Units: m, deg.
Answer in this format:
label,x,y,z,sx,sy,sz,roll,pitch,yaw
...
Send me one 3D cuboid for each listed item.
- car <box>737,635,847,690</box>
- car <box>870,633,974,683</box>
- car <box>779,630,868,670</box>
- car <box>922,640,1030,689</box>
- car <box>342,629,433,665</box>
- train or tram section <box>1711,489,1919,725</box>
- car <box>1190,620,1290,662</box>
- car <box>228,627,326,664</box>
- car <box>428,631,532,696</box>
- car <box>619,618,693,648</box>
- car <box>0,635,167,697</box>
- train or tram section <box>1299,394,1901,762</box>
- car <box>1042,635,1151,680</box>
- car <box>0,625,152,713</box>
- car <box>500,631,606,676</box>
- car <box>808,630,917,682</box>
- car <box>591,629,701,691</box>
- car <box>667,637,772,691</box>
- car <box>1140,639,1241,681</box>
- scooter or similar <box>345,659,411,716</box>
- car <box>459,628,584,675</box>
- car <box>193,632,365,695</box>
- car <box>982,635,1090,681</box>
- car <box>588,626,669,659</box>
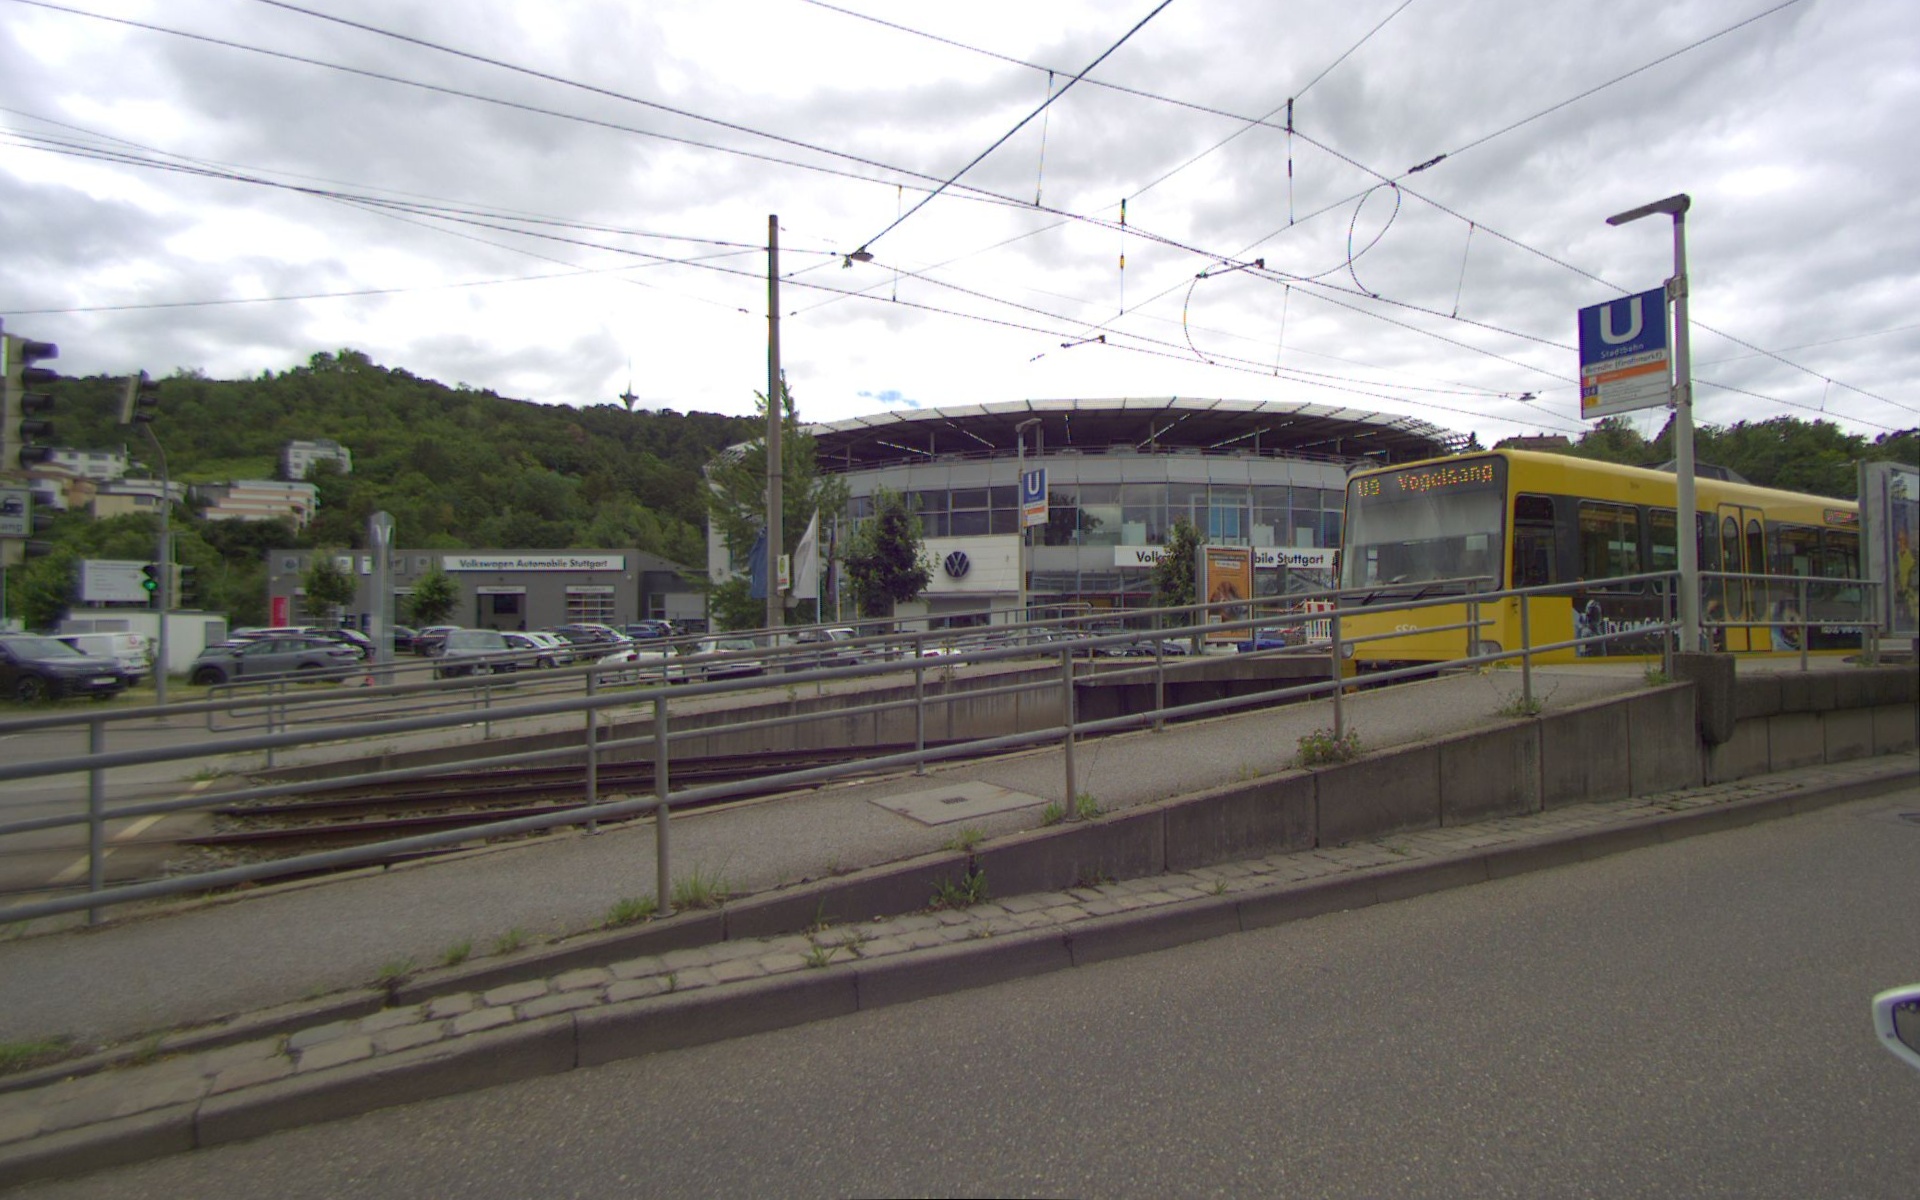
label,x,y,z,sx,sy,sz,roll,pitch,yaw
car,-5.418,1.992,32.106,1.909,1.574,3.962,6,-5,-35
car,-1.380,2.019,35.133,1.712,1.574,3.962,6,-5,-35
car,-6.070,2.190,44.350,1.915,1.574,3.949,7,-6,-43
car,0.508,2.305,36.185,1.909,1.574,3.962,6,-5,-35
car,-32.379,2.693,56.921,3.925,1.816,1.853,3,-4,-5
train or tram section,20.346,0.191,21.384,11.776,4.018,2.727,0,-2,-32
car,11.738,1.751,42.381,1.903,1.574,3.974,5,-5,-26
car,-37.520,2.519,55.266,3.925,1.816,1.853,3,-4,-5
car,-13.412,1.732,27.937,1.980,1.661,3.962,2,-3,-35
car,-20.492,2.255,67.872,4.429,1.751,1.998,3,-4,-9
car,-31.785,2.372,36.016,4.921,2.039,2.000,-1,-4,-4
train or tram section,10.240,-0.174,15.203,11.776,4.018,2.727,0,-2,-32
car,5.100,2.130,37.925,1.908,1.574,3.962,0,-2,-35
car,-21.091,1.518,22.849,3.919,1.662,2.001,2,0,6
car,-20.239,2.697,50.181,4.428,2.022,1.998,3,-4,-8
car,-3.323,1.872,33.649,1.909,1.574,3.962,6,-5,-35
car,-9.471,1.785,30.129,1.981,1.661,3.962,6,-5,-35
car,-7.518,1.972,31.199,1.797,1.495,3.962,6,-5,-35
car,9.303,2.432,40.842,1.902,1.574,3.974,0,-3,-26
scooter or similar,-14.143,2.122,24.445,1.184,1.304,0.574,4,-4,-13
car,-18.830,2.260,43.316,4.424,1.751,2.000,3,-4,-4
car,-21.374,2.015,31.727,3.936,1.727,1.993,4,-4,-17
car,2.764,2.108,37.134,1.908,1.574,3.962,0,-2,-35
car,-20.587,2.668,62.599,4.429,1.751,1.998,3,-4,-9
